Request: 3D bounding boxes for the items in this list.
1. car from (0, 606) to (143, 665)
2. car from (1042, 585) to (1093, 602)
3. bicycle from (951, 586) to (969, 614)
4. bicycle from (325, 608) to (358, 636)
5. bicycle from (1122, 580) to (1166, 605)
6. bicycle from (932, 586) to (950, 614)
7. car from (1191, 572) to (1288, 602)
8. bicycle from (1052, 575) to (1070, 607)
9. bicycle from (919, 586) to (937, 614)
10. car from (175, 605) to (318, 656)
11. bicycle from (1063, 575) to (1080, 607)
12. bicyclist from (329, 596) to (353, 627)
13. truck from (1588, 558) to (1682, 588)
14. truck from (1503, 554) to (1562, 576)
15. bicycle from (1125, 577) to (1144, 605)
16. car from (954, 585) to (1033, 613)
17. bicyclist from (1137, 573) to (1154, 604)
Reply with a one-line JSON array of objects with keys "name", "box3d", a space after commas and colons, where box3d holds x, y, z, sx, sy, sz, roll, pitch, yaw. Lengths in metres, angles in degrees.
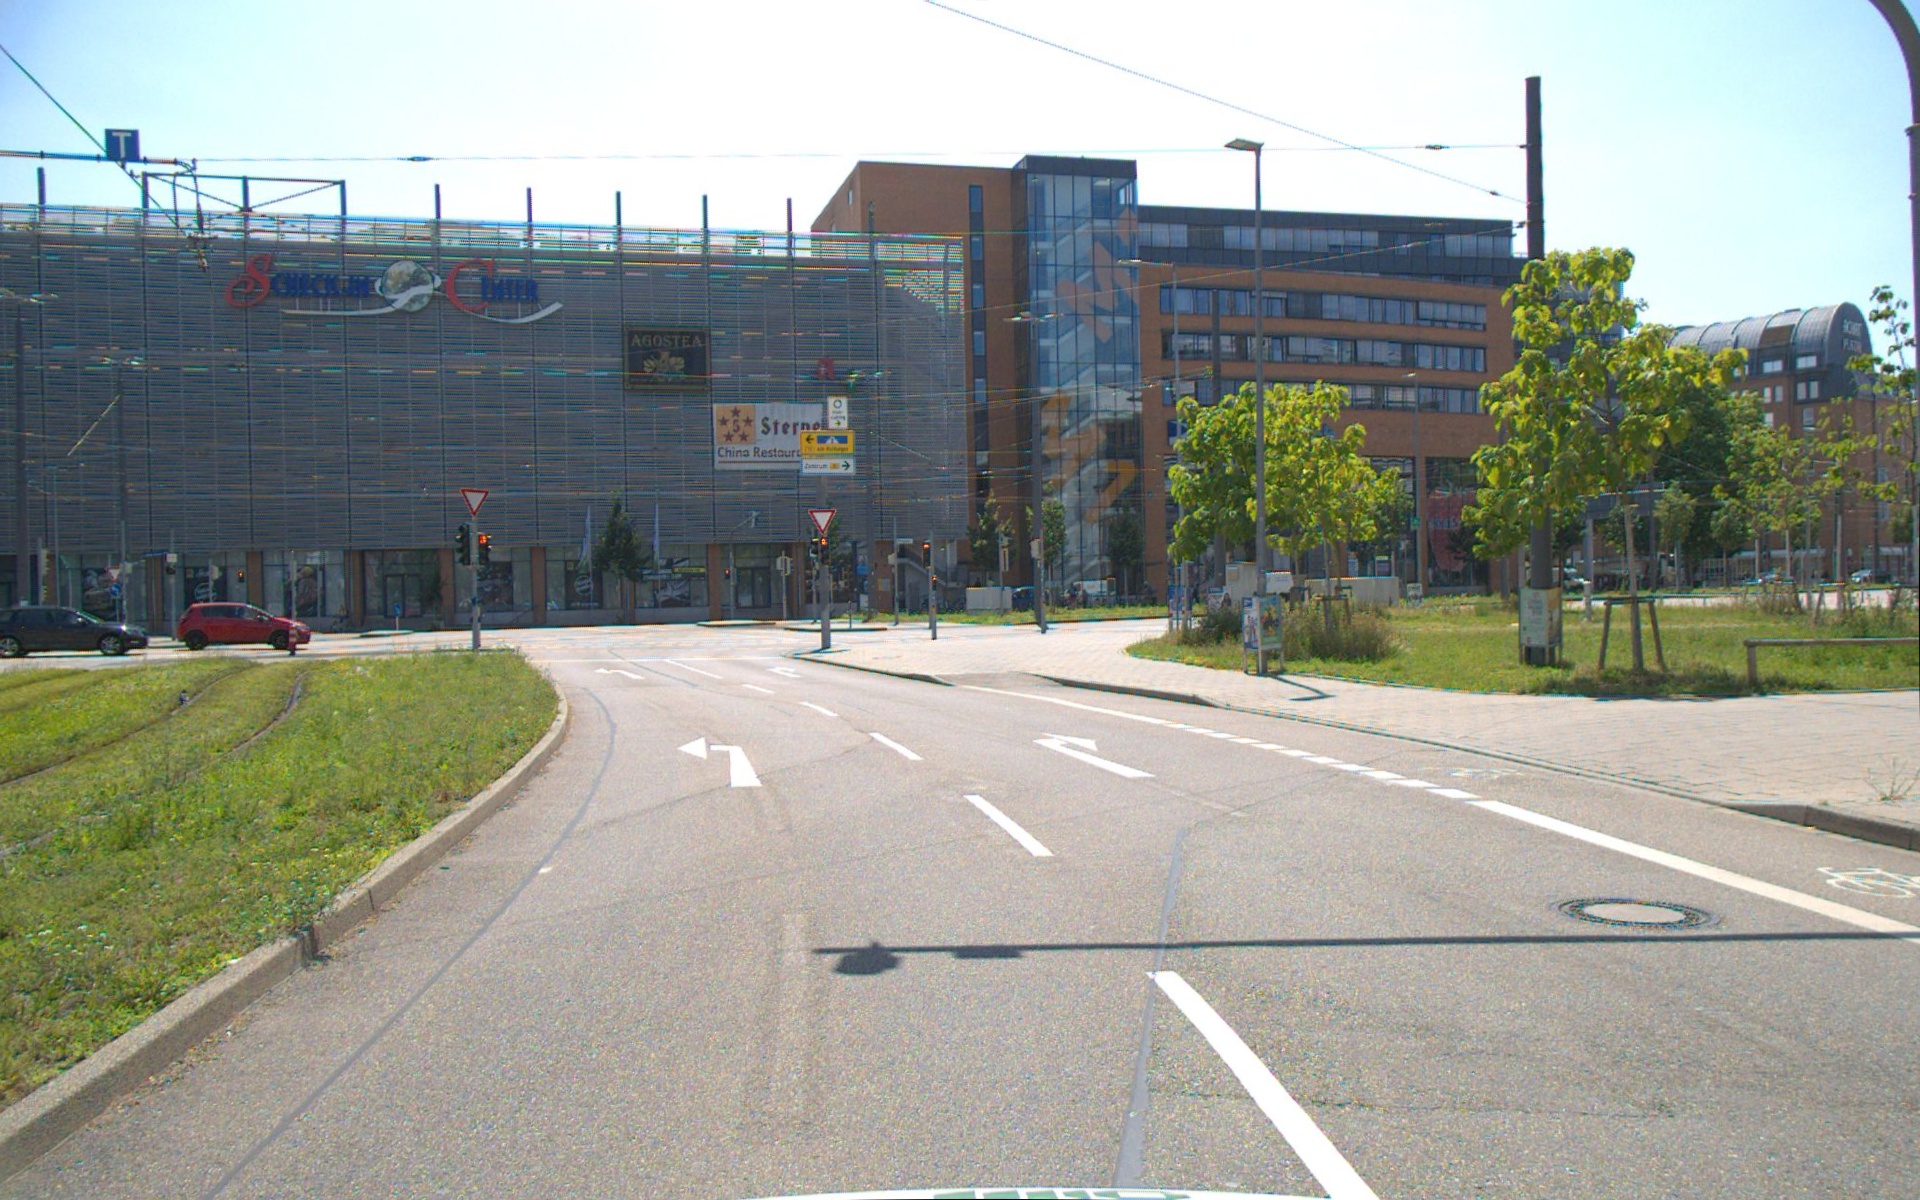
[{"name": "car", "box3d": [-26.538, 1.037, 48.478, 4.465, 1.534, 1.829, -2, 1, -23]}, {"name": "car", "box3d": [6.791, -0.435, 104.714, 2.948, 1.053, 1.343, 0, 1, -19]}, {"name": "bicycle", "box3d": [0.024, -0.025, 104.256, 0.588, 1.761, 2.251, 0, 0, -15]}, {"name": "bicycle", "box3d": [-32.786, 1.177, 87.774, 1.042, 1.414, 3.017, 0, 1, -9]}, {"name": "bicycle", "box3d": [12.067, -0.494, 108.367, 2.801, 1.584, 0.702, 0, 0, -14]}, {"name": "bicycle", "box3d": [-1.209, -0.020, 104.372, 0.588, 1.761, 2.251, 0, 0, -15]}, {"name": "car", "box3d": [16.340, -0.748, 96.613, 5.386, 1.697, 1.987, -1, 1, -22]}, {"name": "bicycle", "box3d": [6.592, -0.591, 107.755, 0.476, 2.049, 2.338, 0, 0, -14]}, {"name": "bicycle", "box3d": [-2.018, 0.005, 104.155, 0.588, 1.761, 2.251, 0, 0, -15]}, {"name": "car", "box3d": [-22.899, 0.966, 53.233, 4.065, 1.534, 1.832, 0, 1, -20]}, {"name": "bicycle", "box3d": [7.274, -0.604, 107.938, 0.476, 2.049, 2.338, 0, 0, -14]}, {"name": "bicyclist", "box3d": [-32.745, 0.596, 87.499, 1.020, 1.599, 0.776, 0, 0, -10]}, {"name": "truck", "box3d": [67.218, -2.670, 164.927, 1.978, 2.858, 9.121, -1, 1, -36]}, {"name": "truck", "box3d": [56.783, -3.459, 164.115, 1.865, 2.049, 5.300, -1, 1, -41]}, {"name": "bicycle", "box3d": [11.495, -0.604, 109.089, 0.476, 1.828, 2.251, 0, 0, -14]}, {"name": "car", "box3d": [1.812, -0.079, 89.859, 3.924, 1.467, 1.735, 0, 0, -18]}, {"name": "bicyclist", "box3d": [12.151, -0.749, 108.387, 0.897, 2.049, 0.745, 0, 0, -15]}]
